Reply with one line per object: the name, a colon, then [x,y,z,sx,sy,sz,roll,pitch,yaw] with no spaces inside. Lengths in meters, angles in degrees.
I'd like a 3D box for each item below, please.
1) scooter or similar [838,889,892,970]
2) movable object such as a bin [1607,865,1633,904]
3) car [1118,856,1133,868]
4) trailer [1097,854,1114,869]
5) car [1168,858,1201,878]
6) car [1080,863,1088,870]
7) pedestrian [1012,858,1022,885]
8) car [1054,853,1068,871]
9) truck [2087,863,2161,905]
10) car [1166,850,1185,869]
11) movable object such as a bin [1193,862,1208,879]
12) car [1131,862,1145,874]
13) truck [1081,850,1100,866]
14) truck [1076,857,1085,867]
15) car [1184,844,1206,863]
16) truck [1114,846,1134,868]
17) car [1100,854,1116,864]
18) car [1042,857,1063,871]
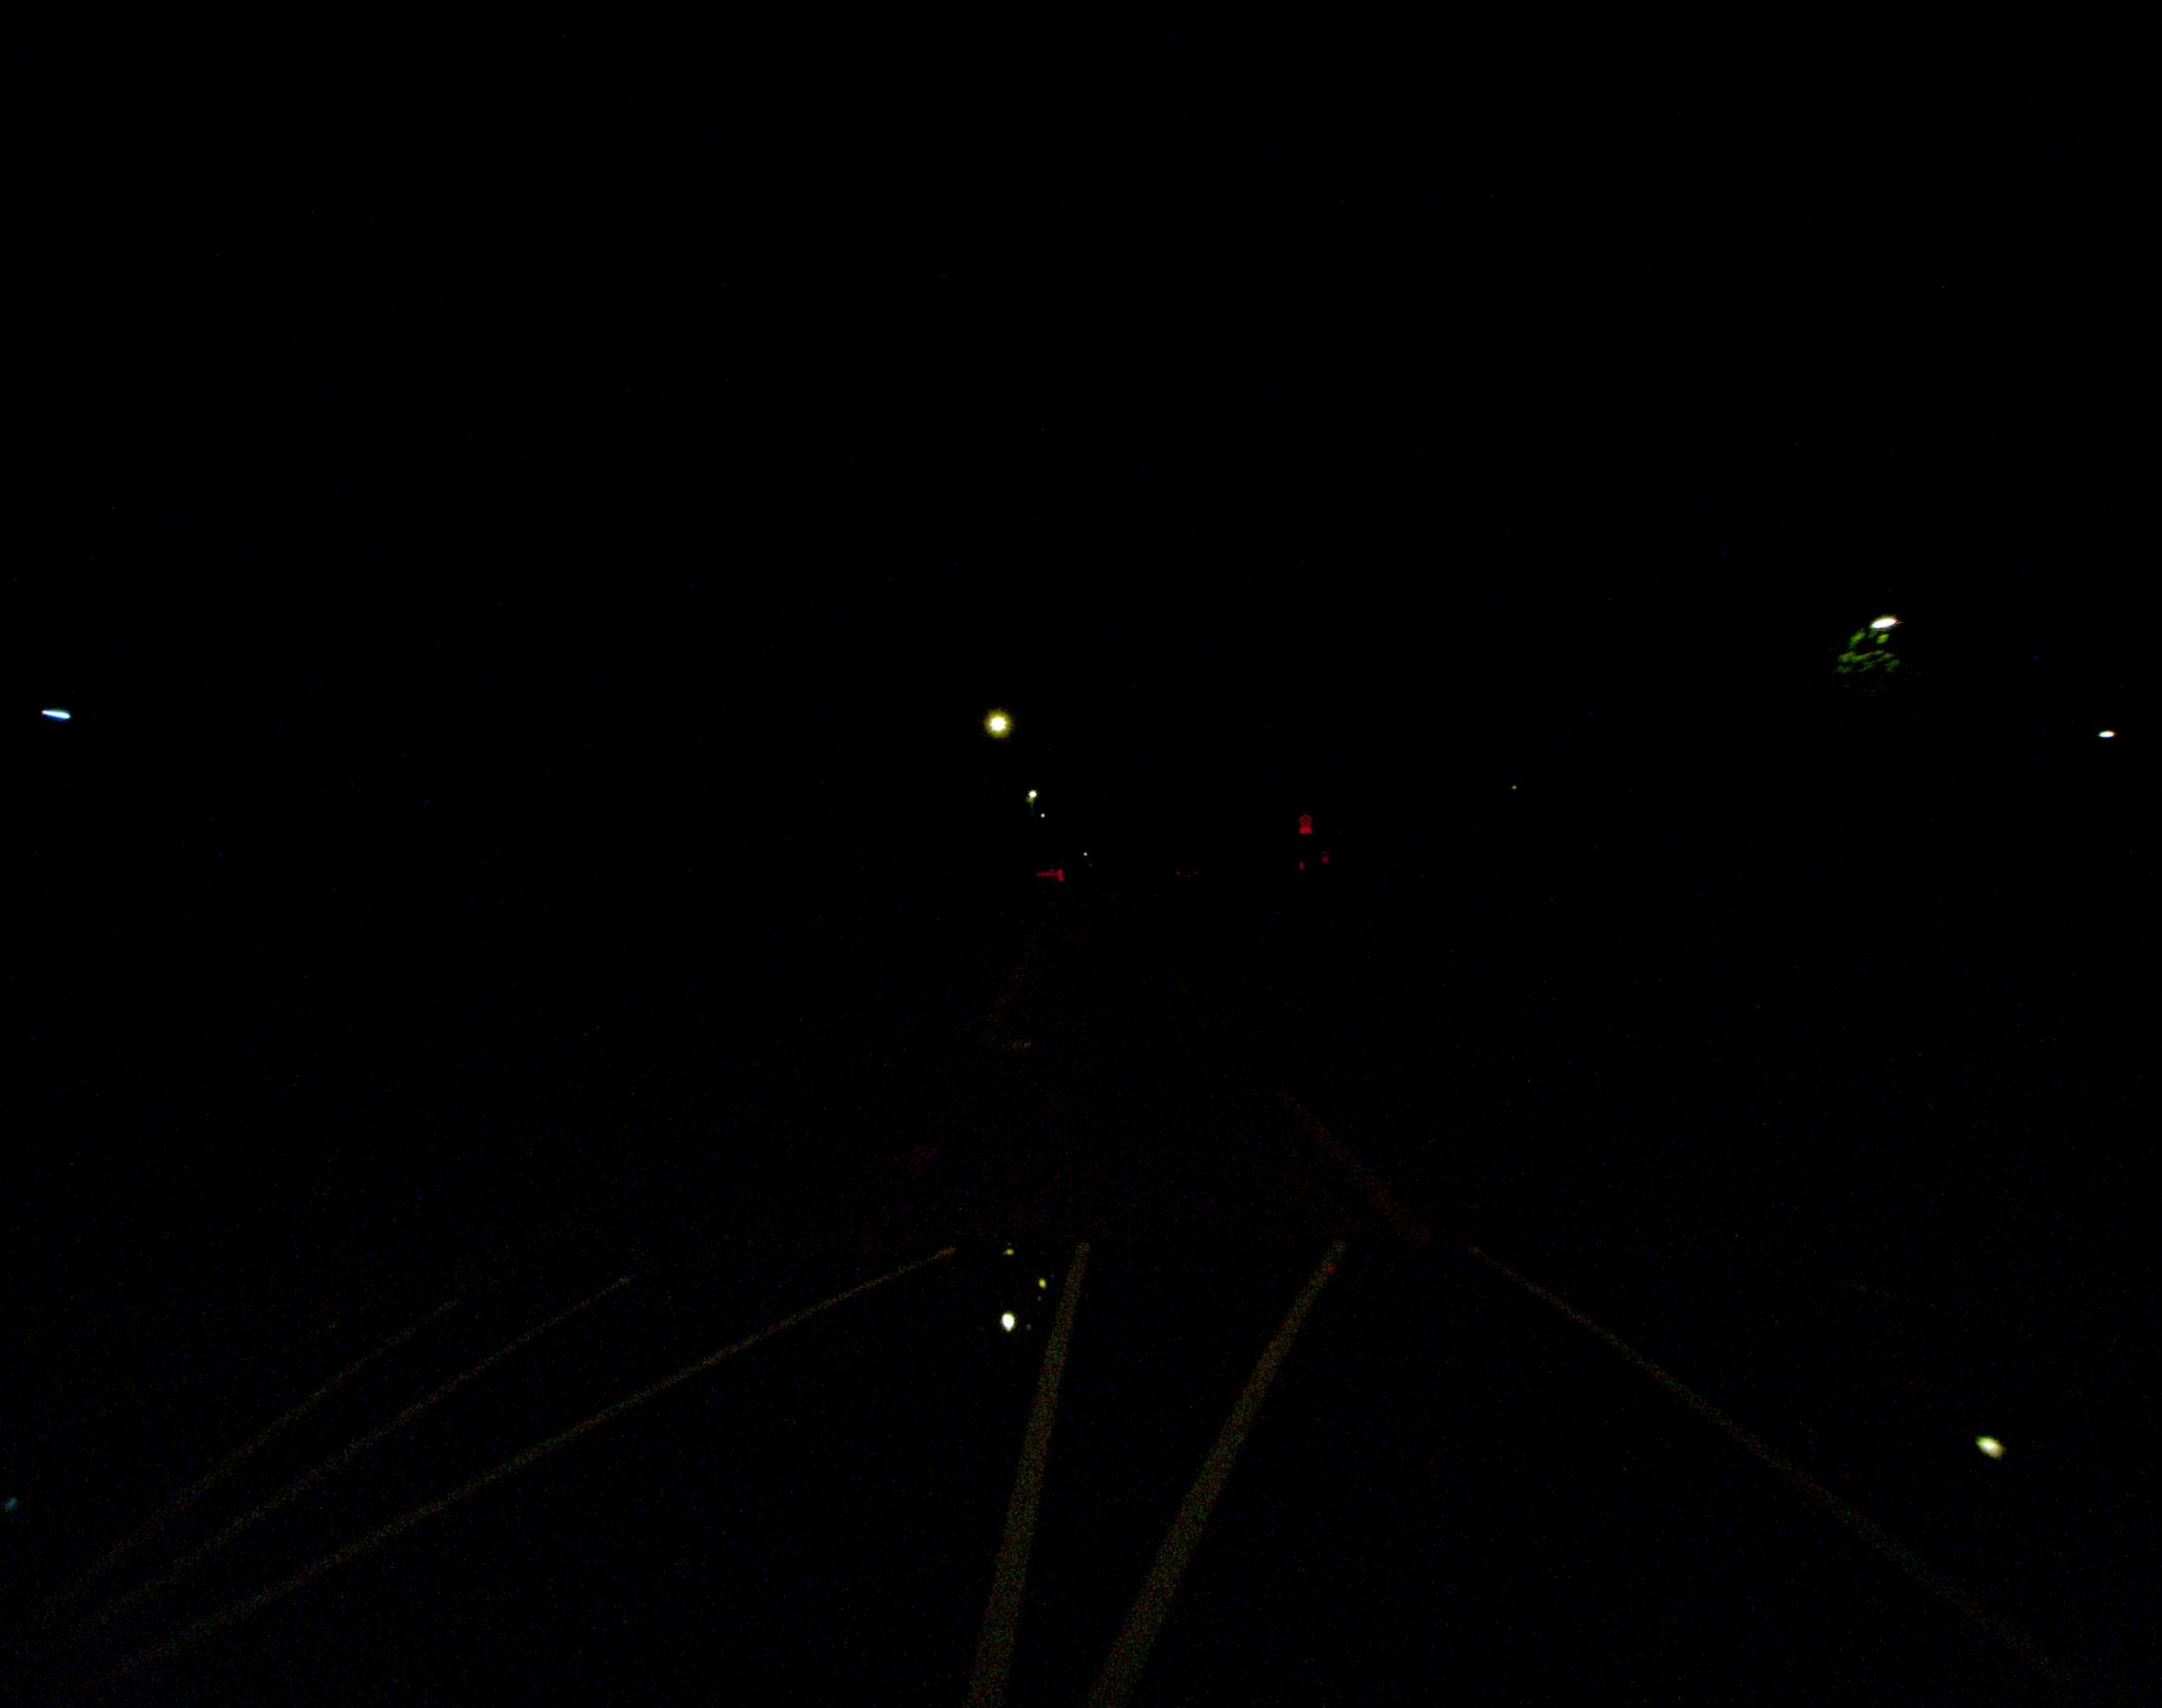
scooter or similar: [-3.617,1.236,12.819,0.495,1.254,1.320,1,0,1]
movable object such as a bin: [18.313,1.041,25.828,0.622,1.299,0.567,1,0,-38]
car: [6.830,1.181,115.867,1.834,1.806,4.838,-1,0,-2]
trailer: [4.562,1.369,143.893,2.212,2.779,4.612,-1,0,-12]
car: [7.810,1.053,57.523,1.916,1.395,4.338,-1,-1,0]
car: [0.721,3.234,193.892,1.862,1.630,3.999,0,-1,-3]
pedestrian: [-4.437,1.228,52.511,0.572,1.842,0.820,-1,0,0]
car: [-2.999,1.233,114.314,2.026,2.511,6.051,-2,0,-1]
truck: [49.817,1.351,35.813,4.005,1.784,1.995,0,2,-25]
car: [11.874,0.728,95.395,1.998,2.307,4.968,0,0,3]
movable object such as a bin: [11.107,1.517,70.492,1.167,1.487,1.065,-1,0,-3]
car: [7.244,1.801,97.104,1.759,1.517,4.324,-1,-1,4]
truck: [1.909,0.859,155.967,2.381,3.224,7.226,-1,0,-10]
truck: [-0.071,2.033,203.962,2.138,2.597,7.098,-1,-1,-2]
car: [14.362,-0.078,95.915,2.212,2.307,4.625,-1,0,3]
truck: [6.828,0.487,122.507,2.550,3.261,7.311,-1,0,-2]
car: [4.897,0.981,138.725,2.000,1.761,4.688,-1,0,-11]
car: [-7.008,2.509,186.030,2.392,3.224,7.218,-1,0,-24]
